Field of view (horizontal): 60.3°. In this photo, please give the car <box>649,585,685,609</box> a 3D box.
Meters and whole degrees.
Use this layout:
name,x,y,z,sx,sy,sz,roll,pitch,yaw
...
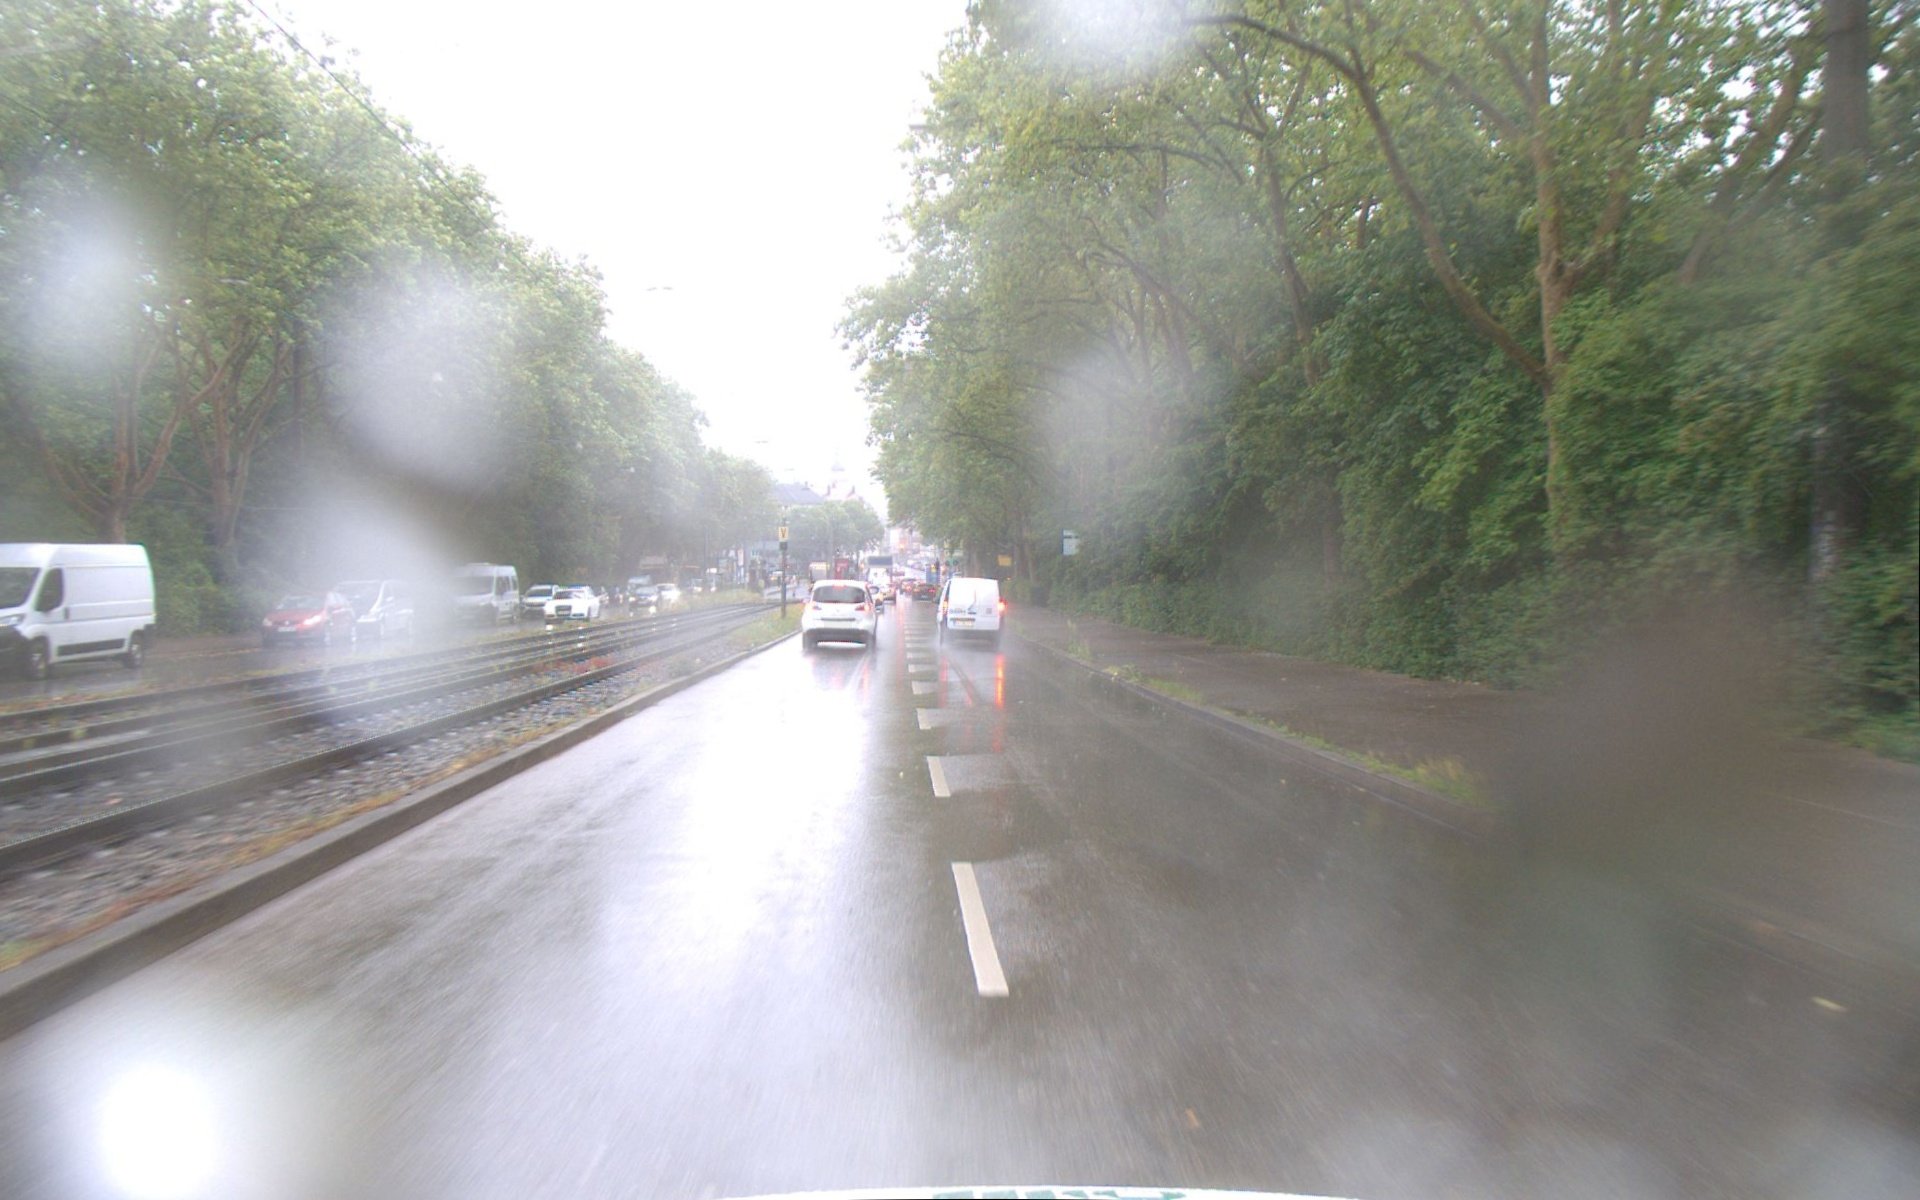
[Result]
name,x,y,z,sx,sy,sz,roll,pitch,yaw
car,-20.024,-0.229,113.105,1.939,1.594,4.764,0,0,-5

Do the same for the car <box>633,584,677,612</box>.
name,x,y,z,sx,sy,sz,roll,pitch,yaw
car,-17.779,-0.145,96.600,1.993,1.579,4.563,-1,0,-4

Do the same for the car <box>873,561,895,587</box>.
name,x,y,z,sx,sy,sz,roll,pitch,yaw
car,-7.039,-2.417,153.525,1.954,2.302,5.285,1,0,-3

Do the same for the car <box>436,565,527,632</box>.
name,x,y,z,sx,sy,sz,roll,pitch,yaw
car,-19.723,-0.100,68.443,2.343,2.585,6.560,-1,0,-5

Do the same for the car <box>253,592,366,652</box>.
name,x,y,z,sx,sy,sz,roll,pitch,yaw
car,-18.281,0.575,46.660,1.782,1.579,4.022,-1,0,-4

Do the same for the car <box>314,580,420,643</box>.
name,x,y,z,sx,sy,sz,roll,pitch,yaw
car,-18.770,0.348,52.569,1.918,1.894,4.637,-1,0,-4

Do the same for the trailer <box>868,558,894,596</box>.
name,x,y,z,sx,sy,sz,roll,pitch,yaw
trailer,-8.560,-2.470,178.741,2.539,3.967,7.630,1,1,-4

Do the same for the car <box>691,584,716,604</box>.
name,x,y,z,sx,sy,sz,roll,pitch,yaw
car,-23.839,-0.560,153.893,1.992,1.782,4.255,-1,0,-5

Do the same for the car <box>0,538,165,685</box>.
name,x,y,z,sx,sy,sz,roll,pitch,yaw
car,-17.388,0.218,31.023,2.283,2.489,6.134,-1,0,-4

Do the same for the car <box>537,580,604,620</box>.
name,x,y,z,sx,sy,sz,roll,pitch,yaw
car,-16.418,-0.009,69.918,1.994,1.579,4.992,-1,0,-5

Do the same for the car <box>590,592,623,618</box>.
name,x,y,z,sx,sy,sz,roll,pitch,yaw
car,-24.193,0.327,113.389,1.994,1.686,4.600,0,0,-9

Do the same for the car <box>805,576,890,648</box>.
name,x,y,z,sx,sy,sz,roll,pitch,yaw
car,-2.739,0.269,41.001,1.827,1.652,4.262,1,0,-1

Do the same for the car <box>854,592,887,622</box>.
name,x,y,z,sx,sy,sz,roll,pitch,yaw
car,-4.702,0.346,86.972,1.691,1.505,3.803,1,0,-3

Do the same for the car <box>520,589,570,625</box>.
name,x,y,z,sx,sy,sz,roll,pitch,yaw
car,-20.900,0.319,83.487,1.716,1.758,4.527,-1,0,-5

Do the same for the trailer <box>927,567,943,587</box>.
name,x,y,z,sx,sy,sz,roll,pitch,yaw
trailer,-3.174,-2.920,211.501,1.953,2.357,4.666,1,0,-2

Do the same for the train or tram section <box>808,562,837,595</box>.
name,x,y,z,sx,sy,sz,roll,pitch,yaw
train or tram section,-14.714,-2.374,177.014,2.903,3.342,8.355,-1,2,-4

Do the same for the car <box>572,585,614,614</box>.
name,x,y,z,sx,sy,sz,roll,pitch,yaw
car,-23.347,-0.032,105.460,1.992,1.782,4.689,-1,0,-5

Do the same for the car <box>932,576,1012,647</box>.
name,x,y,z,sx,sy,sz,roll,pitch,yaw
car,0.289,0.312,44.966,1.920,1.808,3.567,1,0,-3
